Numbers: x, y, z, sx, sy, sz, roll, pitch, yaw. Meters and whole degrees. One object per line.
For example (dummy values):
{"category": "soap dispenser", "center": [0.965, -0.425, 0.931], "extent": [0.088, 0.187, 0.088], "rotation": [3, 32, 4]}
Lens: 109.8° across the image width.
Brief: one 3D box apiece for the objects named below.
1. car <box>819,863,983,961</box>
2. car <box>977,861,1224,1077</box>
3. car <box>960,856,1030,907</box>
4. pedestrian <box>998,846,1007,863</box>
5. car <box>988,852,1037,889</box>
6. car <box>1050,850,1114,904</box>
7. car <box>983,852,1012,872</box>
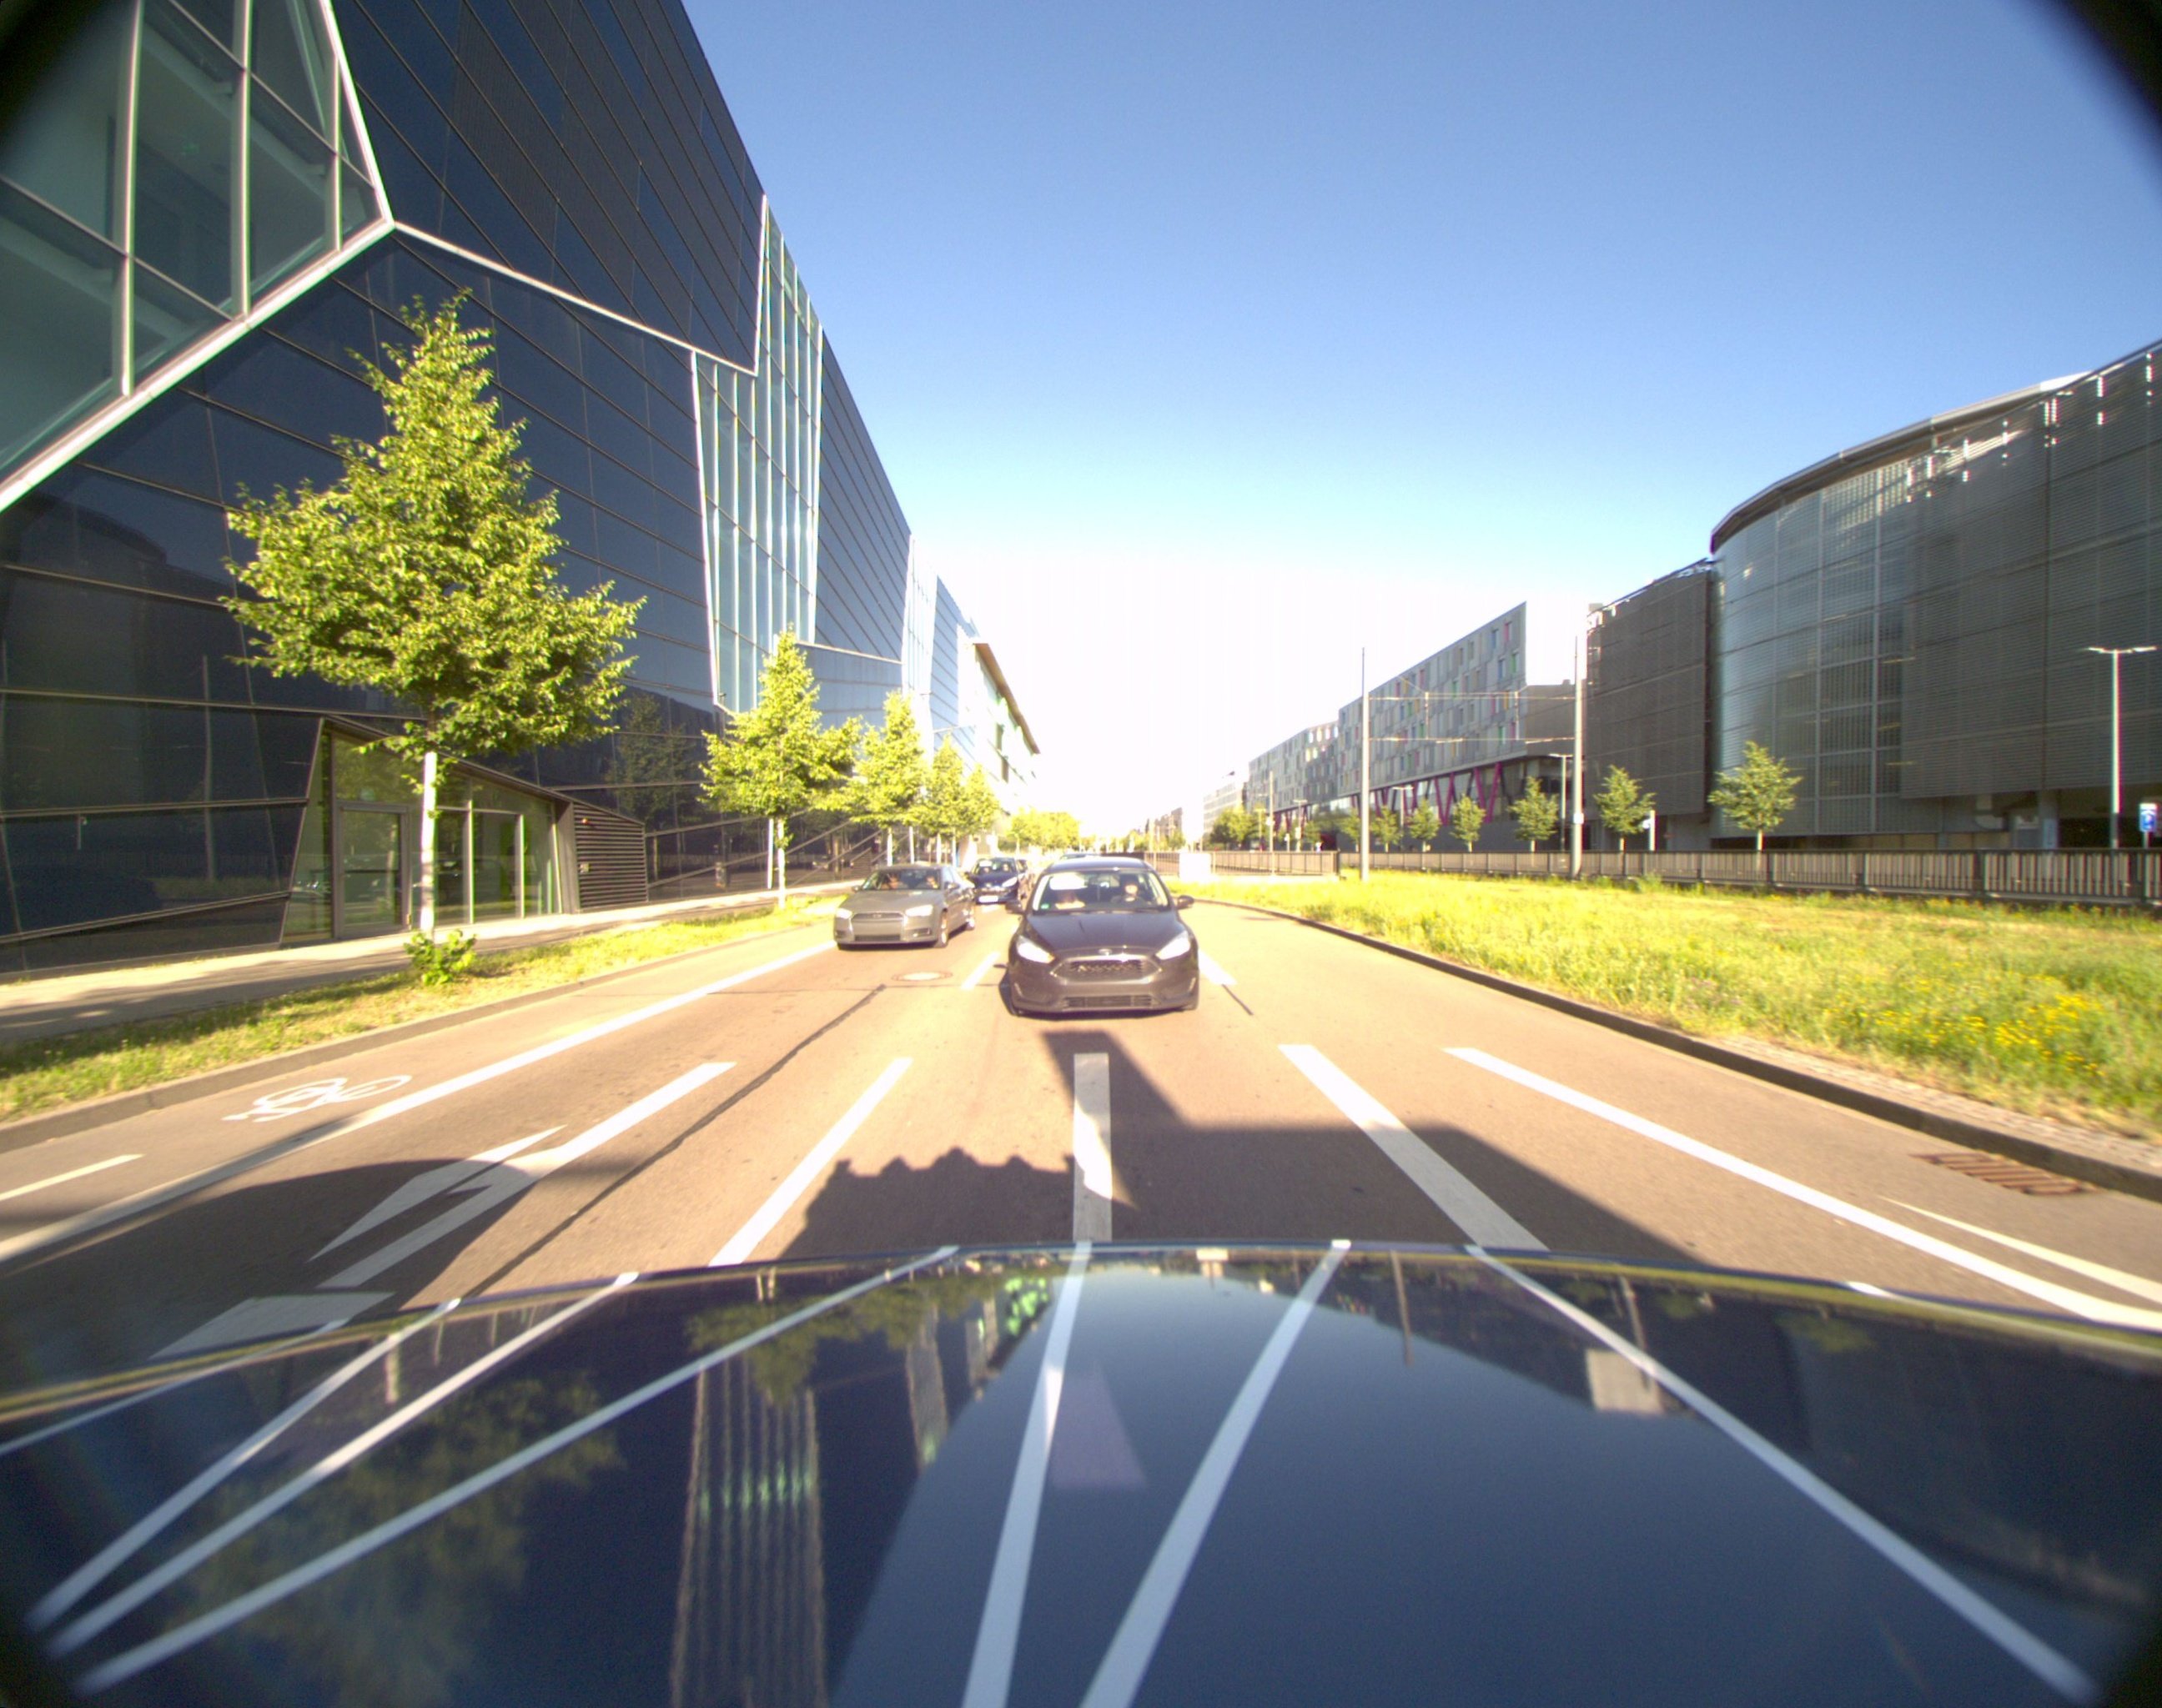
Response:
{"category": "car", "center": [-3.062, 0.925, 13.882], "extent": [1.750, 1.384, 4.264], "rotation": [-1, 1, 3]}
{"category": "car", "center": [0.165, 0.869, 7.897], "extent": [1.787, 1.499, 4.589], "rotation": [-1, 0, 1]}
{"category": "car", "center": [-2.721, 0.826, 24.813], "extent": [1.753, 1.469, 3.971], "rotation": [-1, 0, 0]}
{"category": "pedestrian", "center": [-8.219, 0.056, 79.498], "extent": [0.828, 1.814, 0.905], "rotation": [3, 1, 0]}
{"category": "car", "center": [-2.901, 0.677, 32.922], "extent": [1.753, 1.469, 3.417], "rotation": [-1, 0, 0]}
{"category": "car", "center": [0.065, 0.681, 24.888], "extent": [1.907, 1.612, 3.999], "rotation": [0, 1, 1]}
{"category": "car", "center": [-6.721, 0.630, 61.476], "extent": [1.740, 1.489, 4.715], "rotation": [1, 0, 0]}
